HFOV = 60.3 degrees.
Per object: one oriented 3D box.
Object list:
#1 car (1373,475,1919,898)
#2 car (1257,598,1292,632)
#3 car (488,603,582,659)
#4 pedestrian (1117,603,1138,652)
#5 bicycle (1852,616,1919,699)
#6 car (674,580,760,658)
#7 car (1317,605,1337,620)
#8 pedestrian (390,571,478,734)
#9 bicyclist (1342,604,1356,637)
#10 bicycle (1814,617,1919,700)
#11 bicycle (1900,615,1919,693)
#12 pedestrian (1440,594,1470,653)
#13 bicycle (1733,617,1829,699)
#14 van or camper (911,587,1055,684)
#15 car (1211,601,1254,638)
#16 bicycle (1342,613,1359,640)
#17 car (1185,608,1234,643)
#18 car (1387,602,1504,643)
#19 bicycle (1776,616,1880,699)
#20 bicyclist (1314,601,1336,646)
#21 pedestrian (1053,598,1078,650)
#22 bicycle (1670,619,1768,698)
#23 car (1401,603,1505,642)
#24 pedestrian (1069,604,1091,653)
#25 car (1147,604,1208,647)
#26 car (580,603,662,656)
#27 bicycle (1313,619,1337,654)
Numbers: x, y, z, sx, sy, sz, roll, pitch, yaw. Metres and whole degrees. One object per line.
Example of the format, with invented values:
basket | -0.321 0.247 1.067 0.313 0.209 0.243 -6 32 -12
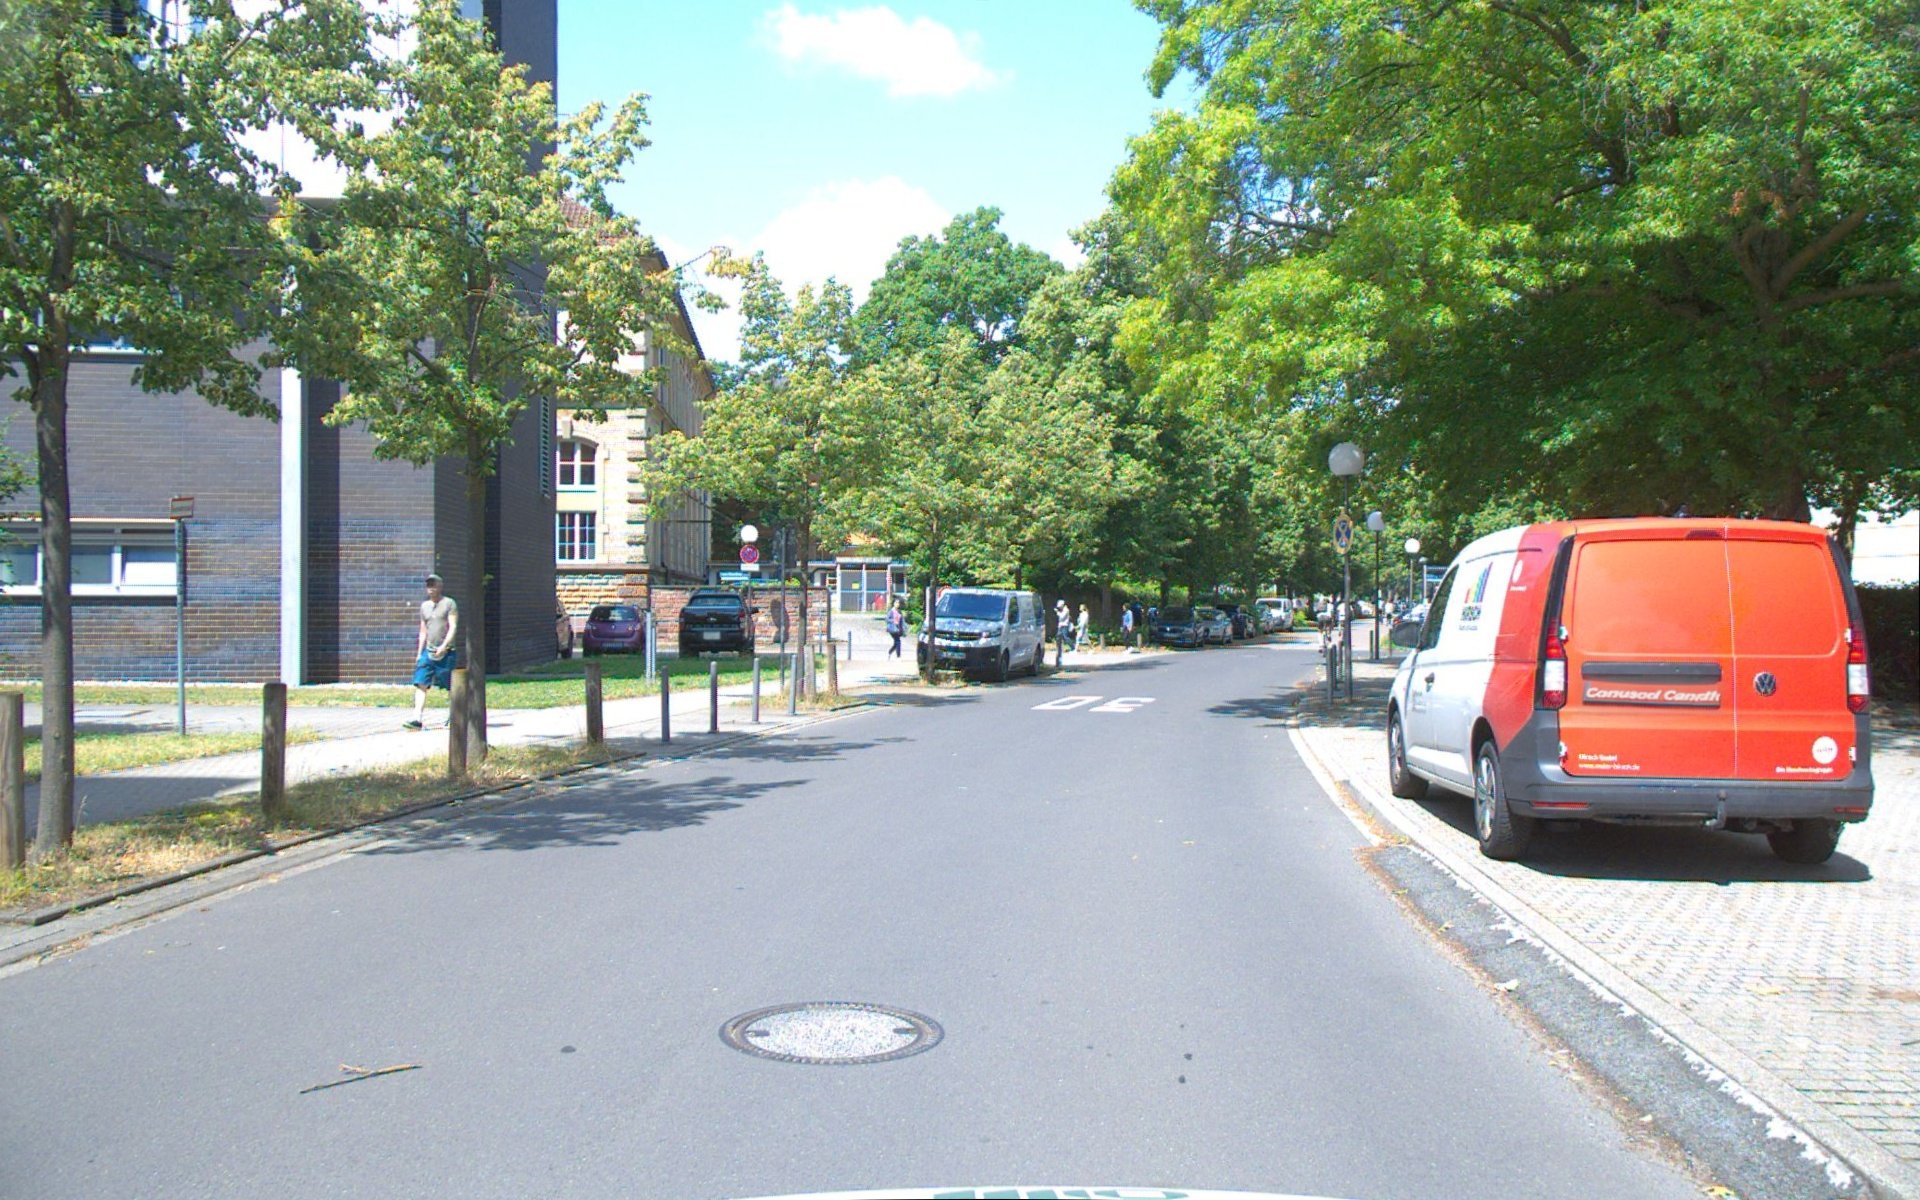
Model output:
car | 3.840 0.400 10.013 1.809 1.924 4.893 -1 0 5
car | 17.621 0.834 92.520 1.581 1.847 4.003 0 0 15
car | -11.166 0.774 43.680 1.782 1.347 4.157 2 0 -6
pedestrian | 5.486 0.890 54.114 0.489 1.613 0.488 0 -1 -34
bicycle | 13.583 0.807 23.779 0.488 1.138 1.940 0 0 0
car | -6.439 0.489 44.271 2.133 1.959 5.178 0 0 -7
car | 33.142 1.106 149.224 1.581 1.388 4.565 0 0 14
pedestrian | -5.945 0.578 18.711 0.571 1.795 0.912 0 0 12
bicyclist | 15.405 0.800 65.472 0.511 1.318 0.611 0 0 15
bicycle | 13.020 0.822 23.810 0.488 1.138 1.872 0 0 0
bicycle | 14.233 0.783 23.669 0.488 1.138 1.872 0 0 0
pedestrian | 15.131 0.700 50.552 0.804 1.786 0.840 0 0 20
bicycle | 11.984 0.826 24.199 0.488 1.138 1.872 0 0 0
van or camper | 0.613 0.724 36.682 1.912 1.957 5.424 1 0 15
car | 12.877 0.915 77.941 1.581 1.708 4.003 0 0 15
bicycle | 15.445 1.042 65.431 0.601 1.018 1.424 -1 0 15
car | 10.506 1.064 69.576 1.581 1.412 4.003 0 0 15
car | 19.376 0.901 66.115 4.390 1.552 1.811 -1 -1 17
bicycle | 12.496 0.806 23.876 0.488 1.138 1.936 0 0 0
bicyclist | 10.816 0.693 48.994 0.596 1.318 0.611 0 0 15
pedestrian | 3.442 0.781 53.824 0.618 1.692 0.599 0 -1 -24
bicycle | 11.397 0.860 24.898 0.606 1.138 1.872 0 0 0
car | 21.055 0.954 70.735 4.167 1.616 1.811 -1 -1 17
pedestrian | 3.822 0.905 52.558 0.574 1.554 0.492 0 0 -17
car | 8.222 0.941 62.282 1.722 1.548 4.114 0 0 15
car | -8.956 0.764 43.990 1.782 1.347 3.763 0 0 -6
bicycle | 10.820 1.073 49.010 0.601 1.018 1.424 0 0 15
